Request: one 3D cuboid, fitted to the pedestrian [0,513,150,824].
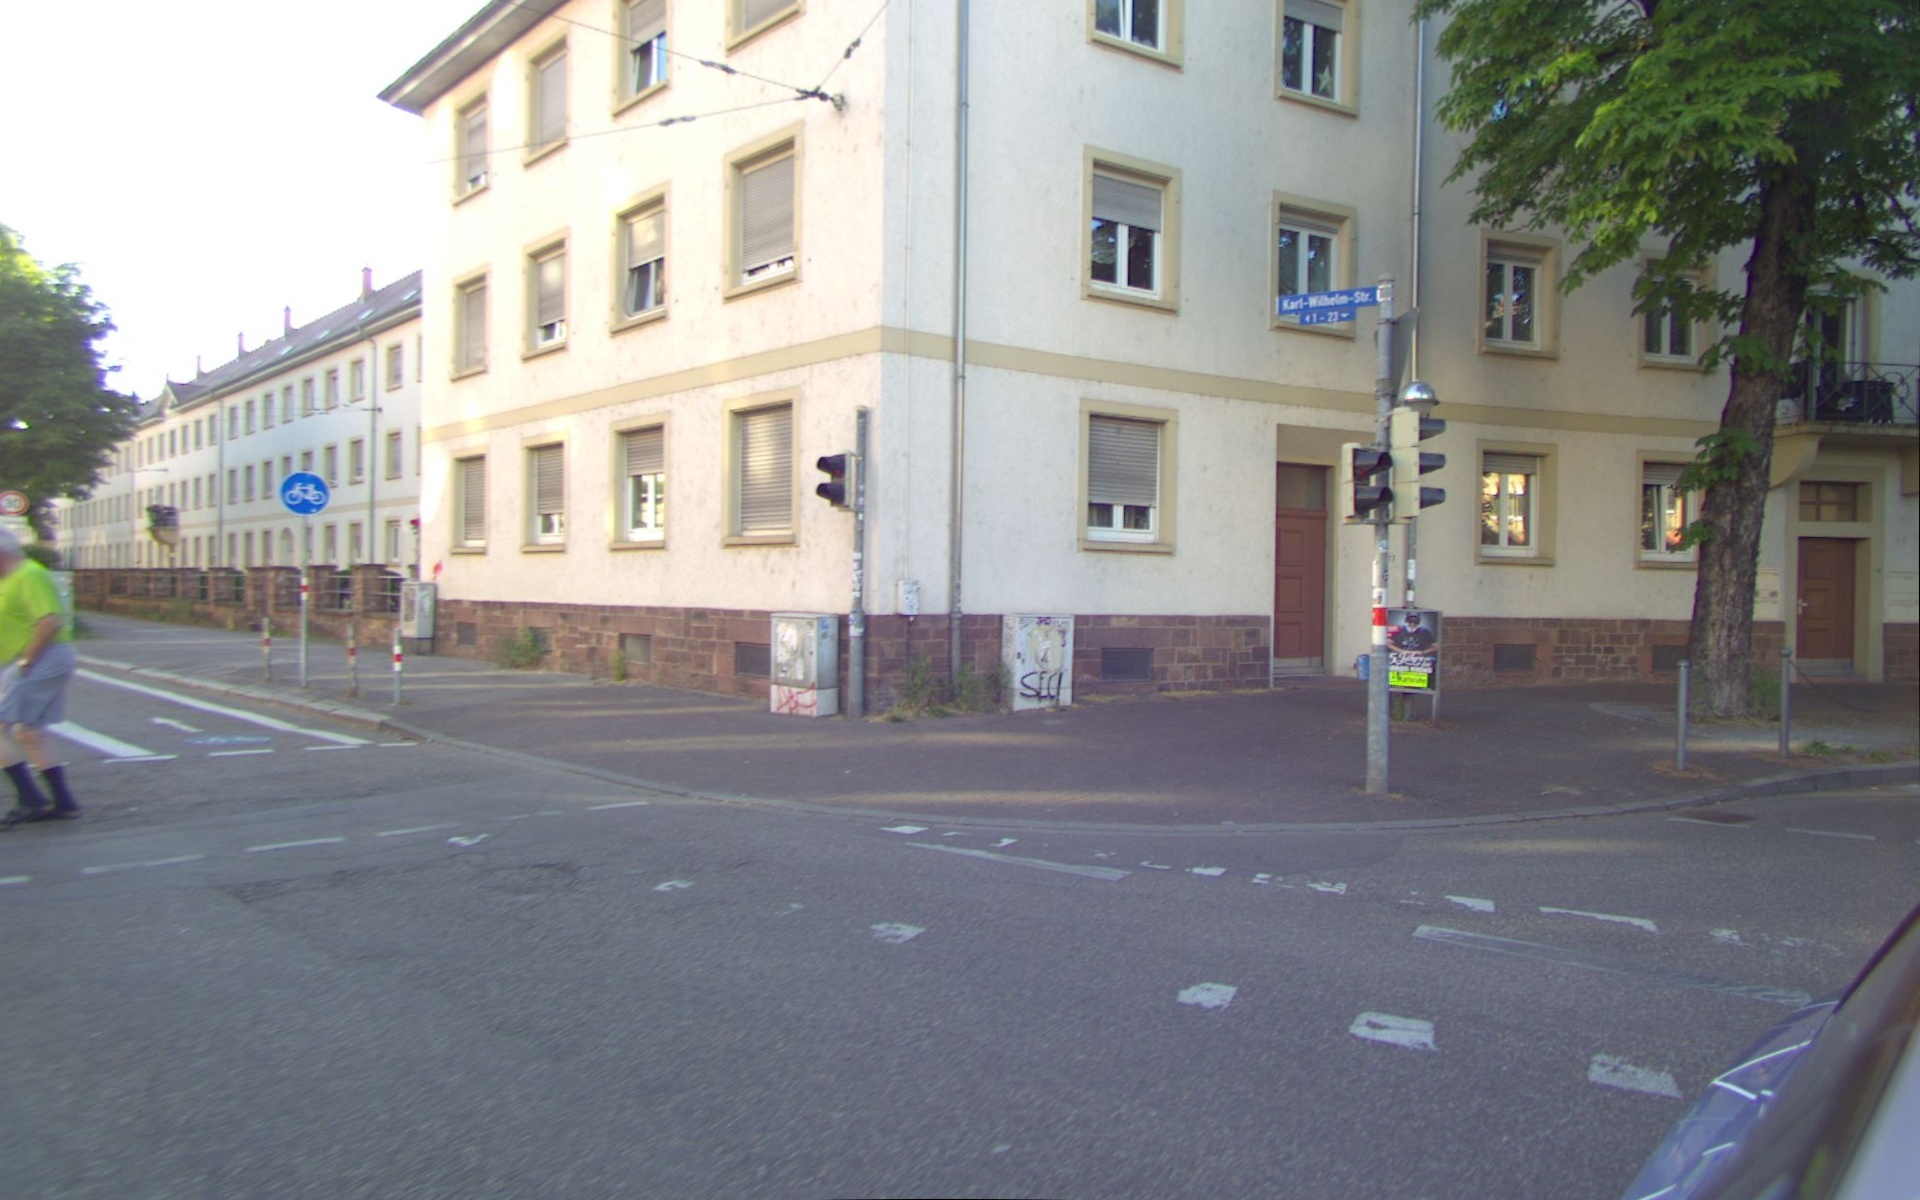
[{"bbox_3d":[-5.578,0.388,6.043,0.871,1.750,0.645,2,-3,-5],"label":"pedestrian"}]
